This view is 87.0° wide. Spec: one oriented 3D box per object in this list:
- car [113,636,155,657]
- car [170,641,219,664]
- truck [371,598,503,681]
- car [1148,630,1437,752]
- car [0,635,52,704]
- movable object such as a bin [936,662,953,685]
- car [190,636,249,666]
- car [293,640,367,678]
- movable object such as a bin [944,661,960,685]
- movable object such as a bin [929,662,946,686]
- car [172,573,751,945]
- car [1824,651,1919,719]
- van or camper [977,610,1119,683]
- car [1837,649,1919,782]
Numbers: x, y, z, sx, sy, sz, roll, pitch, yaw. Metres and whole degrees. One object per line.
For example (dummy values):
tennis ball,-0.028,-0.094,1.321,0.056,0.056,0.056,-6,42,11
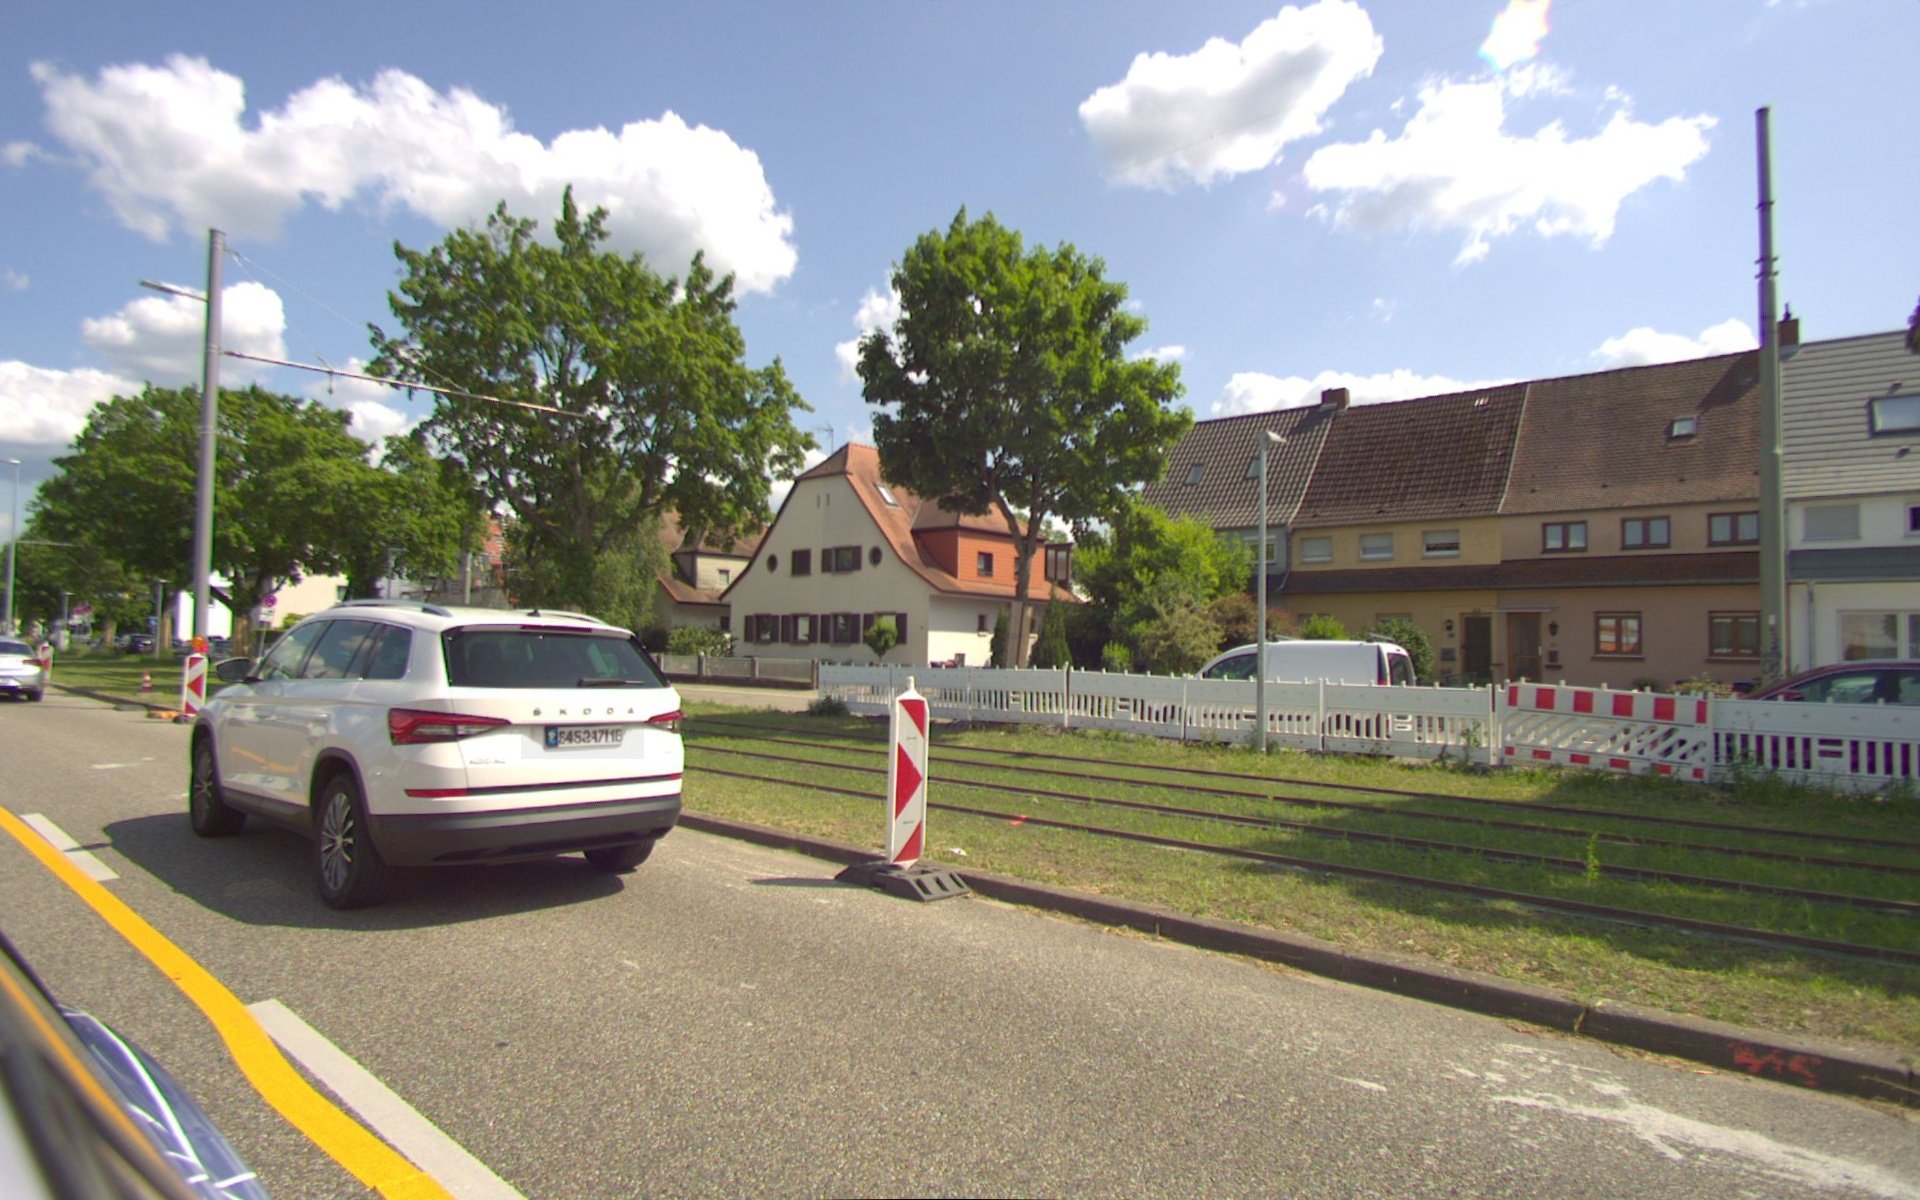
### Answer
car,-57.263,3.214,70.109,3.998,1.311,1.615,-1,-1,41
car,-45.208,3.075,59.747,3.785,1.251,1.604,-1,-1,41
truck,-19.458,1.406,37.505,5.948,2.826,2.340,-1,-1,41
car,5.119,1.336,15.865,3.999,1.638,1.635,-1,-4,41
car,-22.121,1.528,22.789,4.480,1.456,1.802,-2,-5,40
movable object such as a bin,-0.579,2.797,38.586,0.458,0.874,0.469,-1,-1,39
car,-40.927,2.785,55.907,4.522,1.524,1.685,-1,-1,41
car,-27.454,2.529,44.072,3.929,1.524,1.651,-1,-1,41
movable object such as a bin,-0.304,2.804,38.960,0.458,0.874,0.469,-1,-1,39
movable object such as a bin,-0.856,2.791,38.208,0.458,0.874,0.469,-1,-1,39
car,-3.534,0.795,6.752,4.460,1.679,1.805,-1,-4,41
car,19.450,1.691,19.599,4.118,1.285,1.518,-1,-4,41
van or camper,3.610,1.740,40.128,2.498,2.652,6.269,-1,-1,40
car,10.753,1.228,10.484,2.450,1.358,1.060,-1,-4,45
